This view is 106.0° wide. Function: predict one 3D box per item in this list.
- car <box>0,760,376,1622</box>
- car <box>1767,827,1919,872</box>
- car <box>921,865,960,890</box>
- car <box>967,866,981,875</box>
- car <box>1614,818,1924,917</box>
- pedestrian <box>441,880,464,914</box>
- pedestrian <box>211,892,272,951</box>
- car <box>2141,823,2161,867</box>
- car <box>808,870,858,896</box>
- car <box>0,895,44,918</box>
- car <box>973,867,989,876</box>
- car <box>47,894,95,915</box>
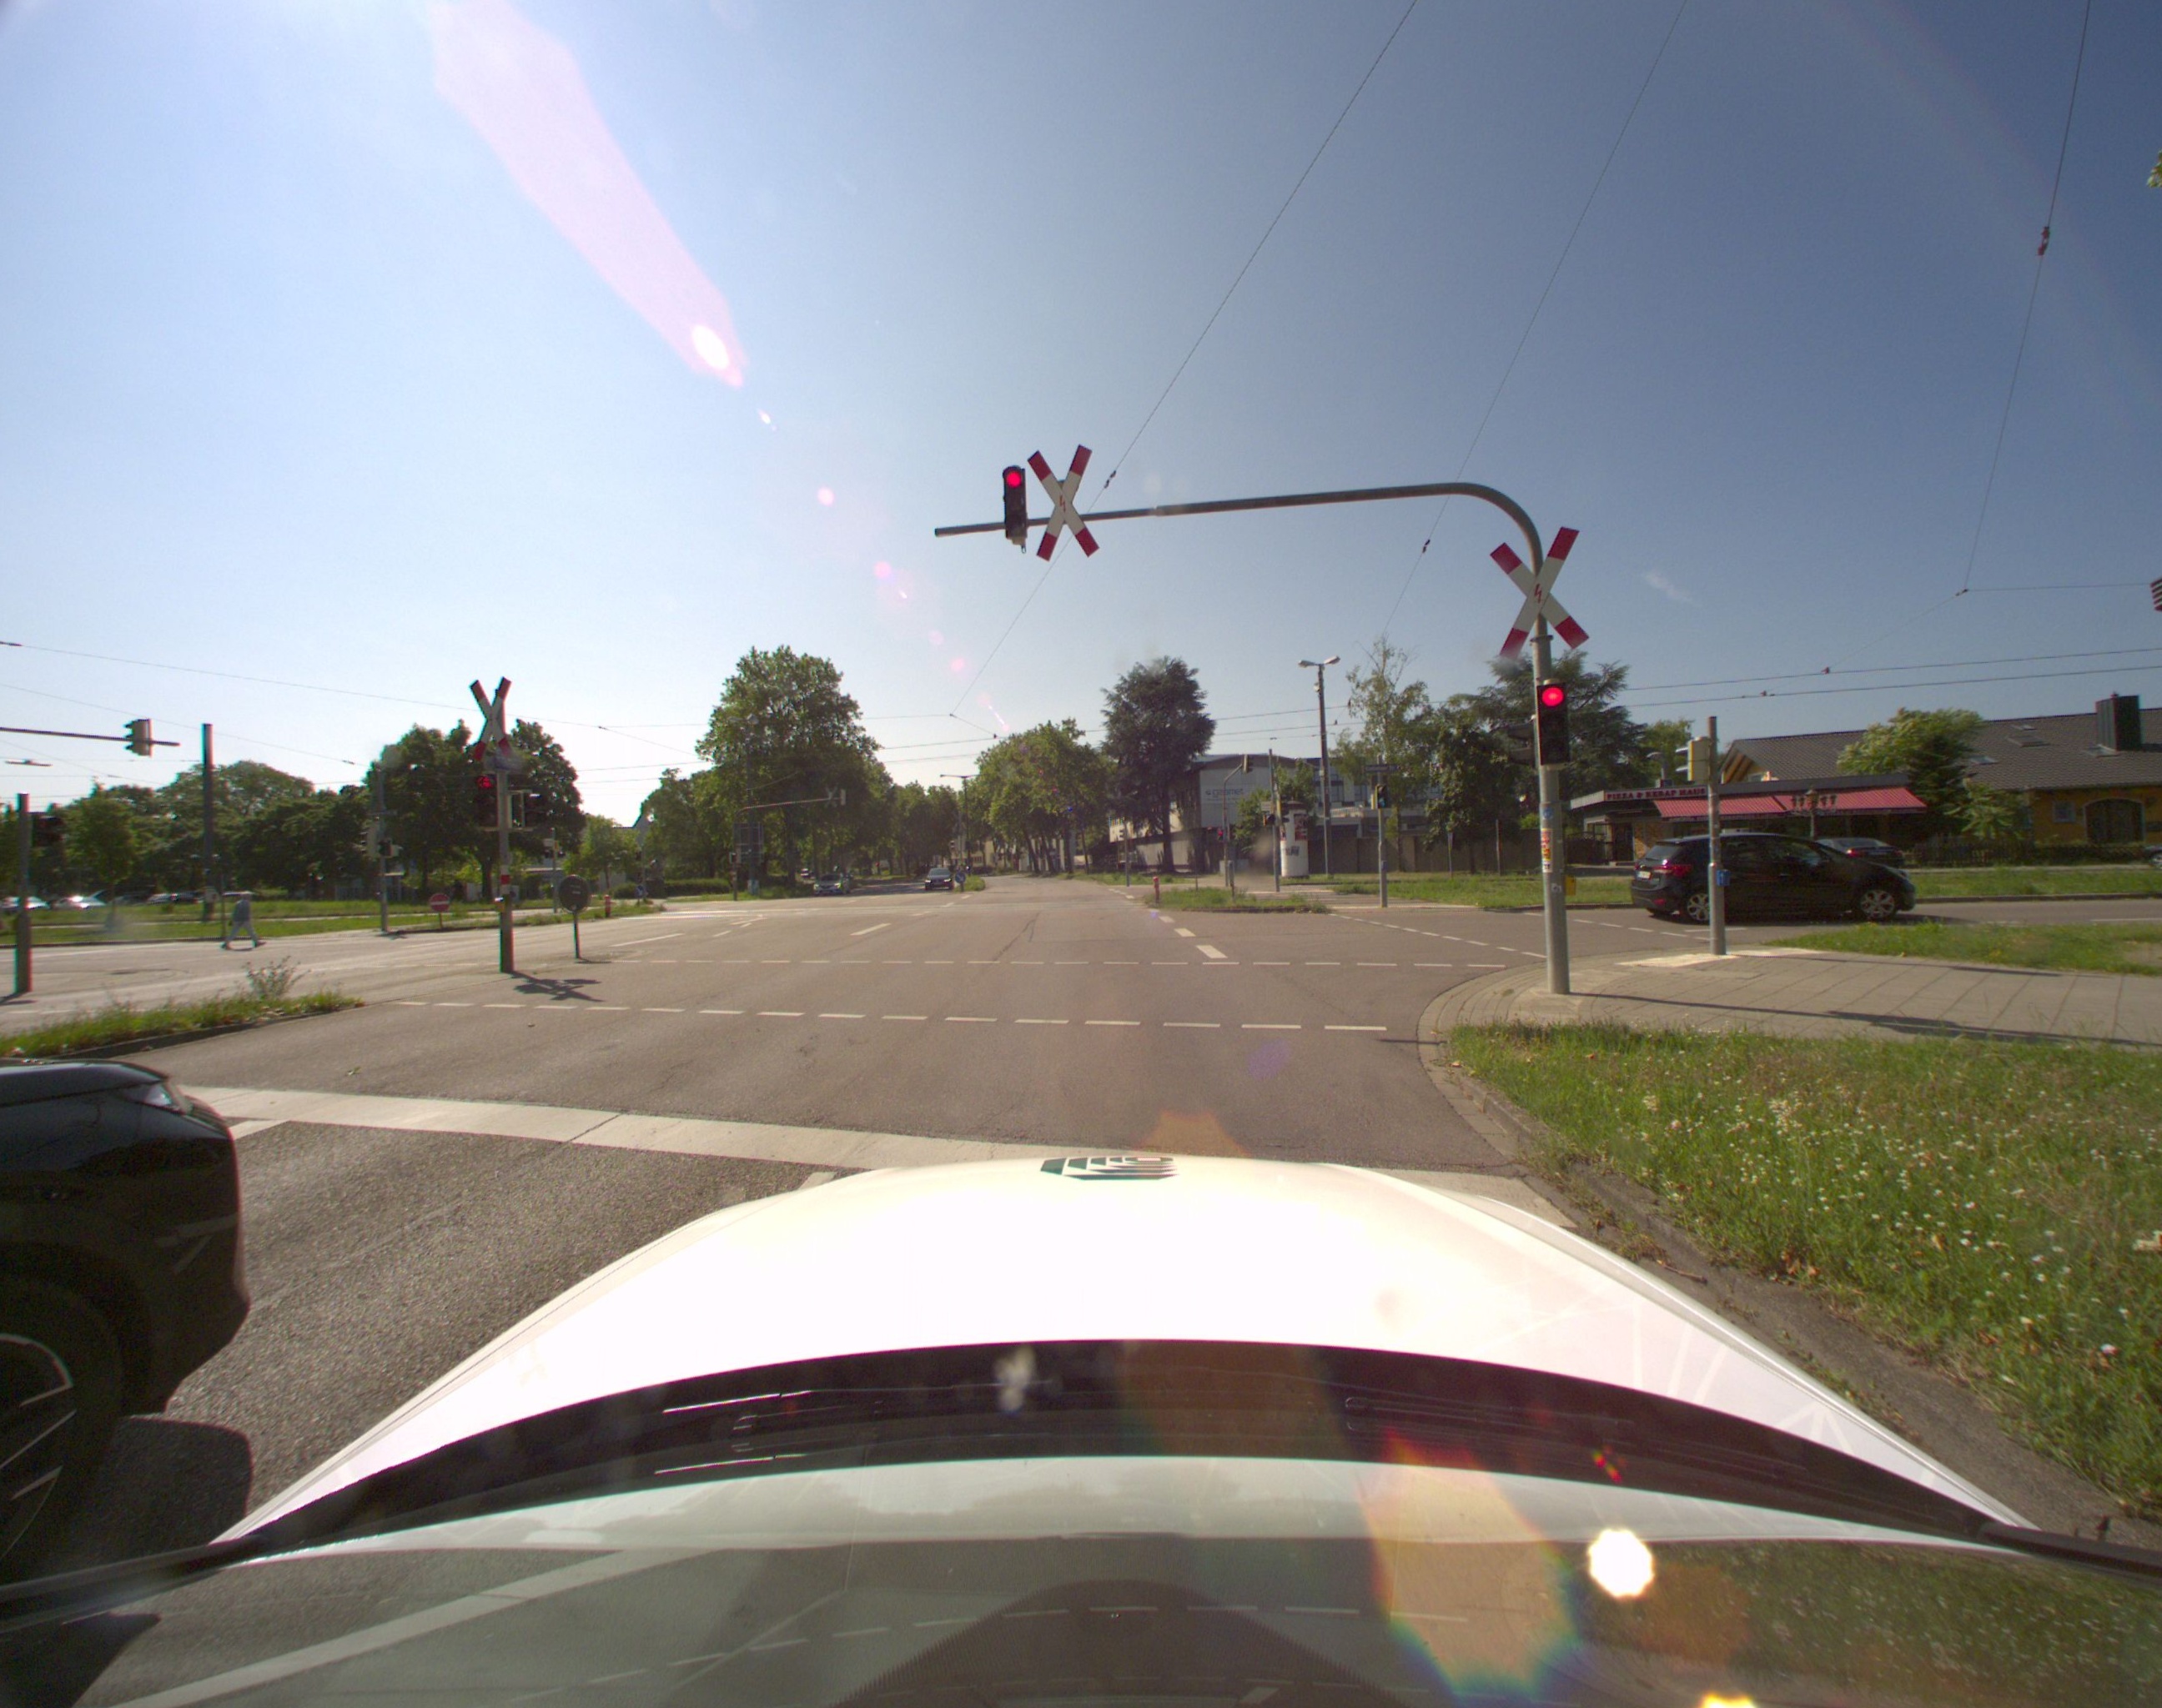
[{"bbox_3d":[-3.116,0.668,0.232,1.865,1.696,4.437,-1,0,2],"label":"car"},{"bbox_3d":[28.774,-0.088,31.024,2.119,1.499,5.141,-2,-2,17],"label":"car"},{"bbox_3d":[-9.252,1.552,54.024,1.687,1.508,4.131,-2,-1,2],"label":"car"},{"bbox_3d":[-19.626,2.999,149.195,1.712,1.487,4.075,-2,0,-18],"label":"car"},{"bbox_3d":[12.390,0.252,14.971,3.958,1.655,1.801,-1,0,14],"label":"car"},{"bbox_3d":[-37.707,2.563,48.850,0.794,2.013,0.709,-2,-1,-12],"label":"pedestrian"},{"bbox_3d":[-22.621,1.798,21.950,0.693,1.501,0.872,-2,-1,9],"label":"pedestrian"},{"bbox_3d":[38.689,-0.361,26.766,2.132,1.499,4.199,-1,-1,-5],"label":"car"},{"bbox_3d":[-16.456,1.907,54.336,1.687,1.508,4.663,-2,-1,2],"label":"car"},{"bbox_3d":[-73.602,3.650,56.523,3.299,1.446,1.357,-2,-1,27],"label":"car"},{"bbox_3d":[-17.720,3.055,144.058,1.714,1.487,4.683,-3,0,-22],"label":"car"},{"bbox_3d":[-72.522,3.629,58.474,3.299,1.446,1.457,-2,-1,27],"label":"car"}]
